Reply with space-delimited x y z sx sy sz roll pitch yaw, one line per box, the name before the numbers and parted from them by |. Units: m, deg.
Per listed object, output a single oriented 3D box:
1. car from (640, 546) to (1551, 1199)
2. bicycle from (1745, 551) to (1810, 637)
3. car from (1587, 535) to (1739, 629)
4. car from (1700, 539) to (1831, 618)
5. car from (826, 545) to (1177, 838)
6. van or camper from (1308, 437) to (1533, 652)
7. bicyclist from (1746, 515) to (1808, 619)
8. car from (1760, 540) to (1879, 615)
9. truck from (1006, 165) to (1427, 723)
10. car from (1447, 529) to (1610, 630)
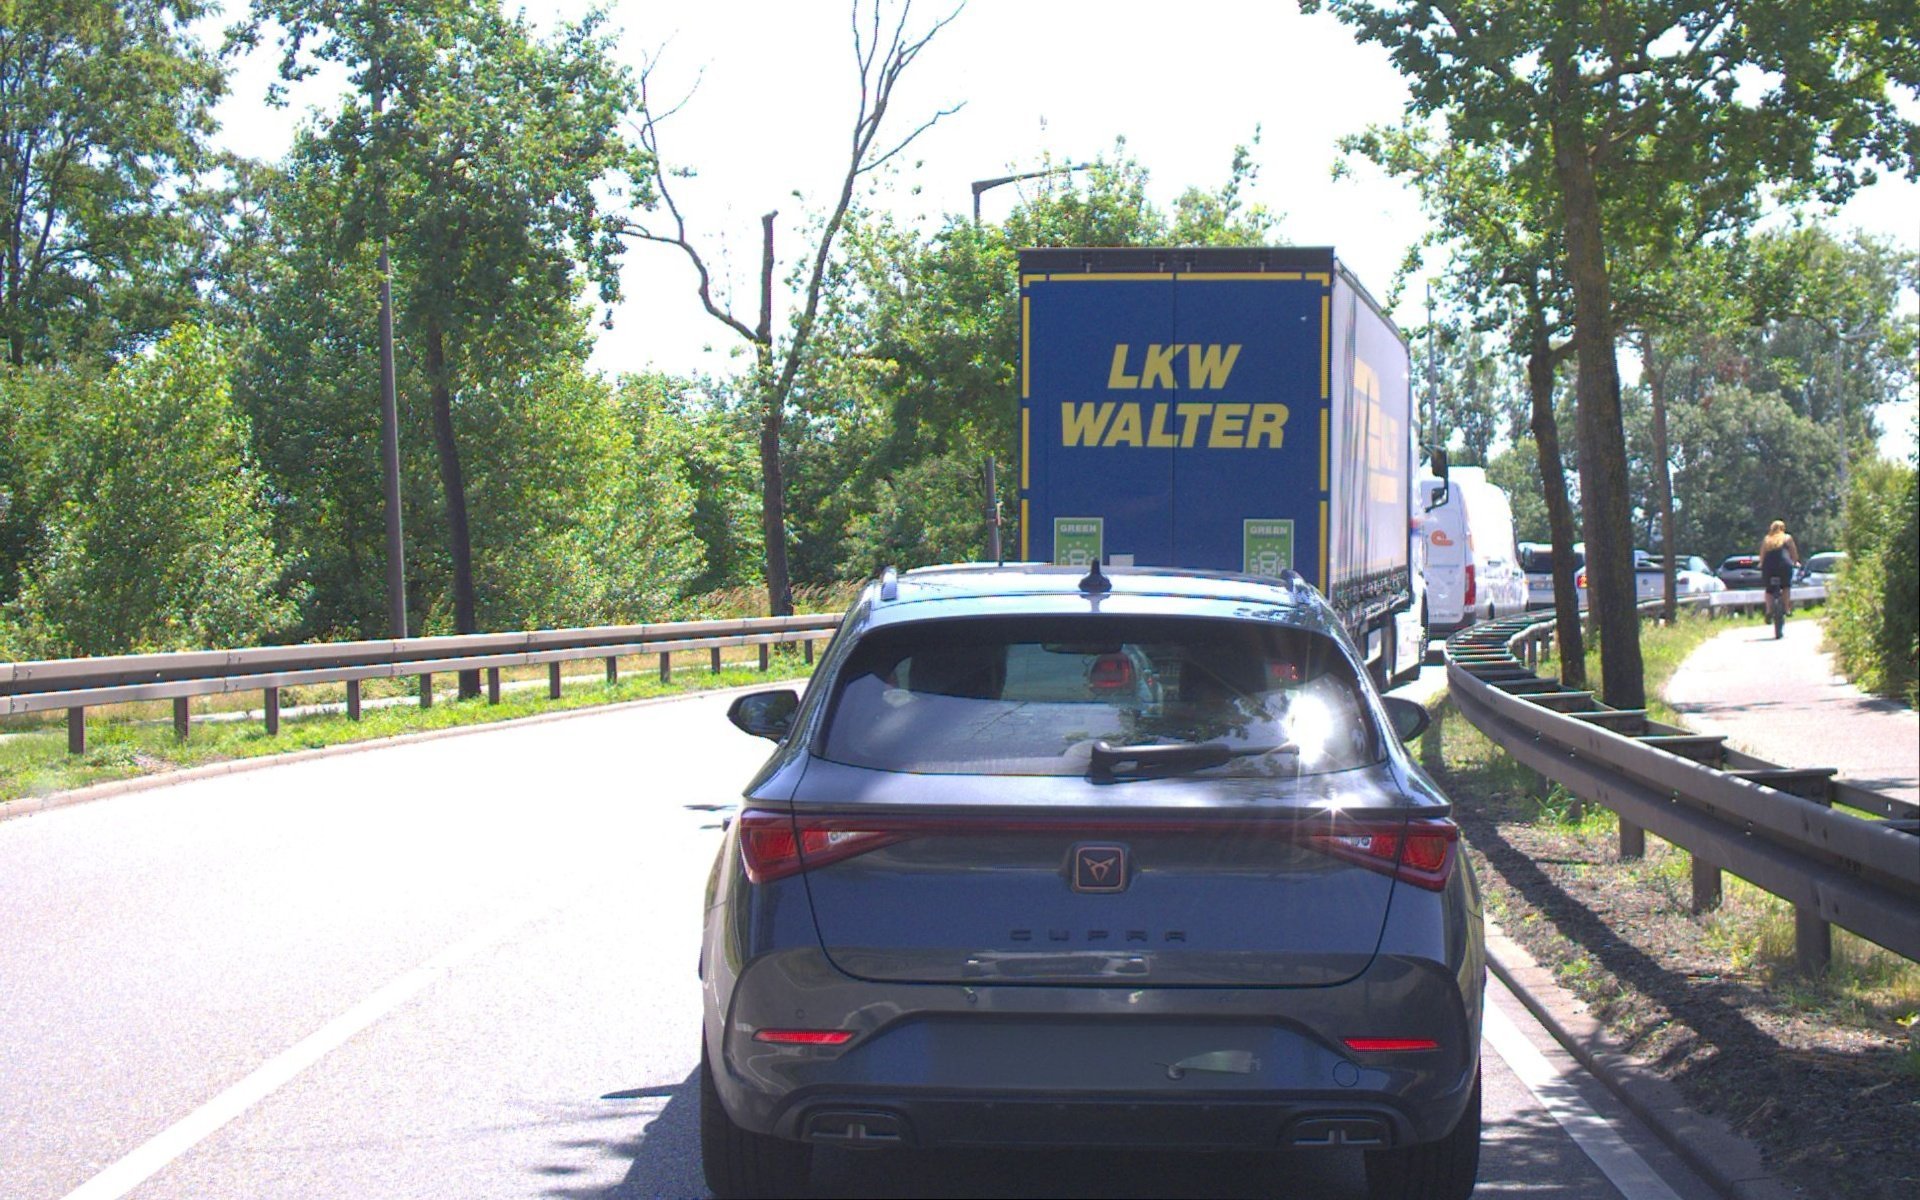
car | 0.207 0.597 8.555 1.744 1.427 3.880 1 1 -2
bicycle | 12.168 -0.098 51.210 0.861 1.232 2.308 1 1 12
car | 14.201 -0.376 69.228 1.996 1.802 4.839 1 1 24
car | 18.247 -0.501 77.700 1.996 1.711 4.862 1 1 24
car | 0.267 0.455 19.877 1.809 1.503 4.000 1 1 2
van or camper | 6.942 -0.814 51.214 2.468 2.988 6.082 1 1 16
bicyclist | 12.145 -0.492 51.127 0.861 1.518 0.980 1 1 12
car | 21.056 -0.558 84.100 1.996 1.762 4.748 1 1 24
truck | 3.167 -1.333 35.839 2.951 4.433 16.792 1 1 9
car | 10.183 -0.375 61.346 1.996 1.706 4.615 1 1 21
